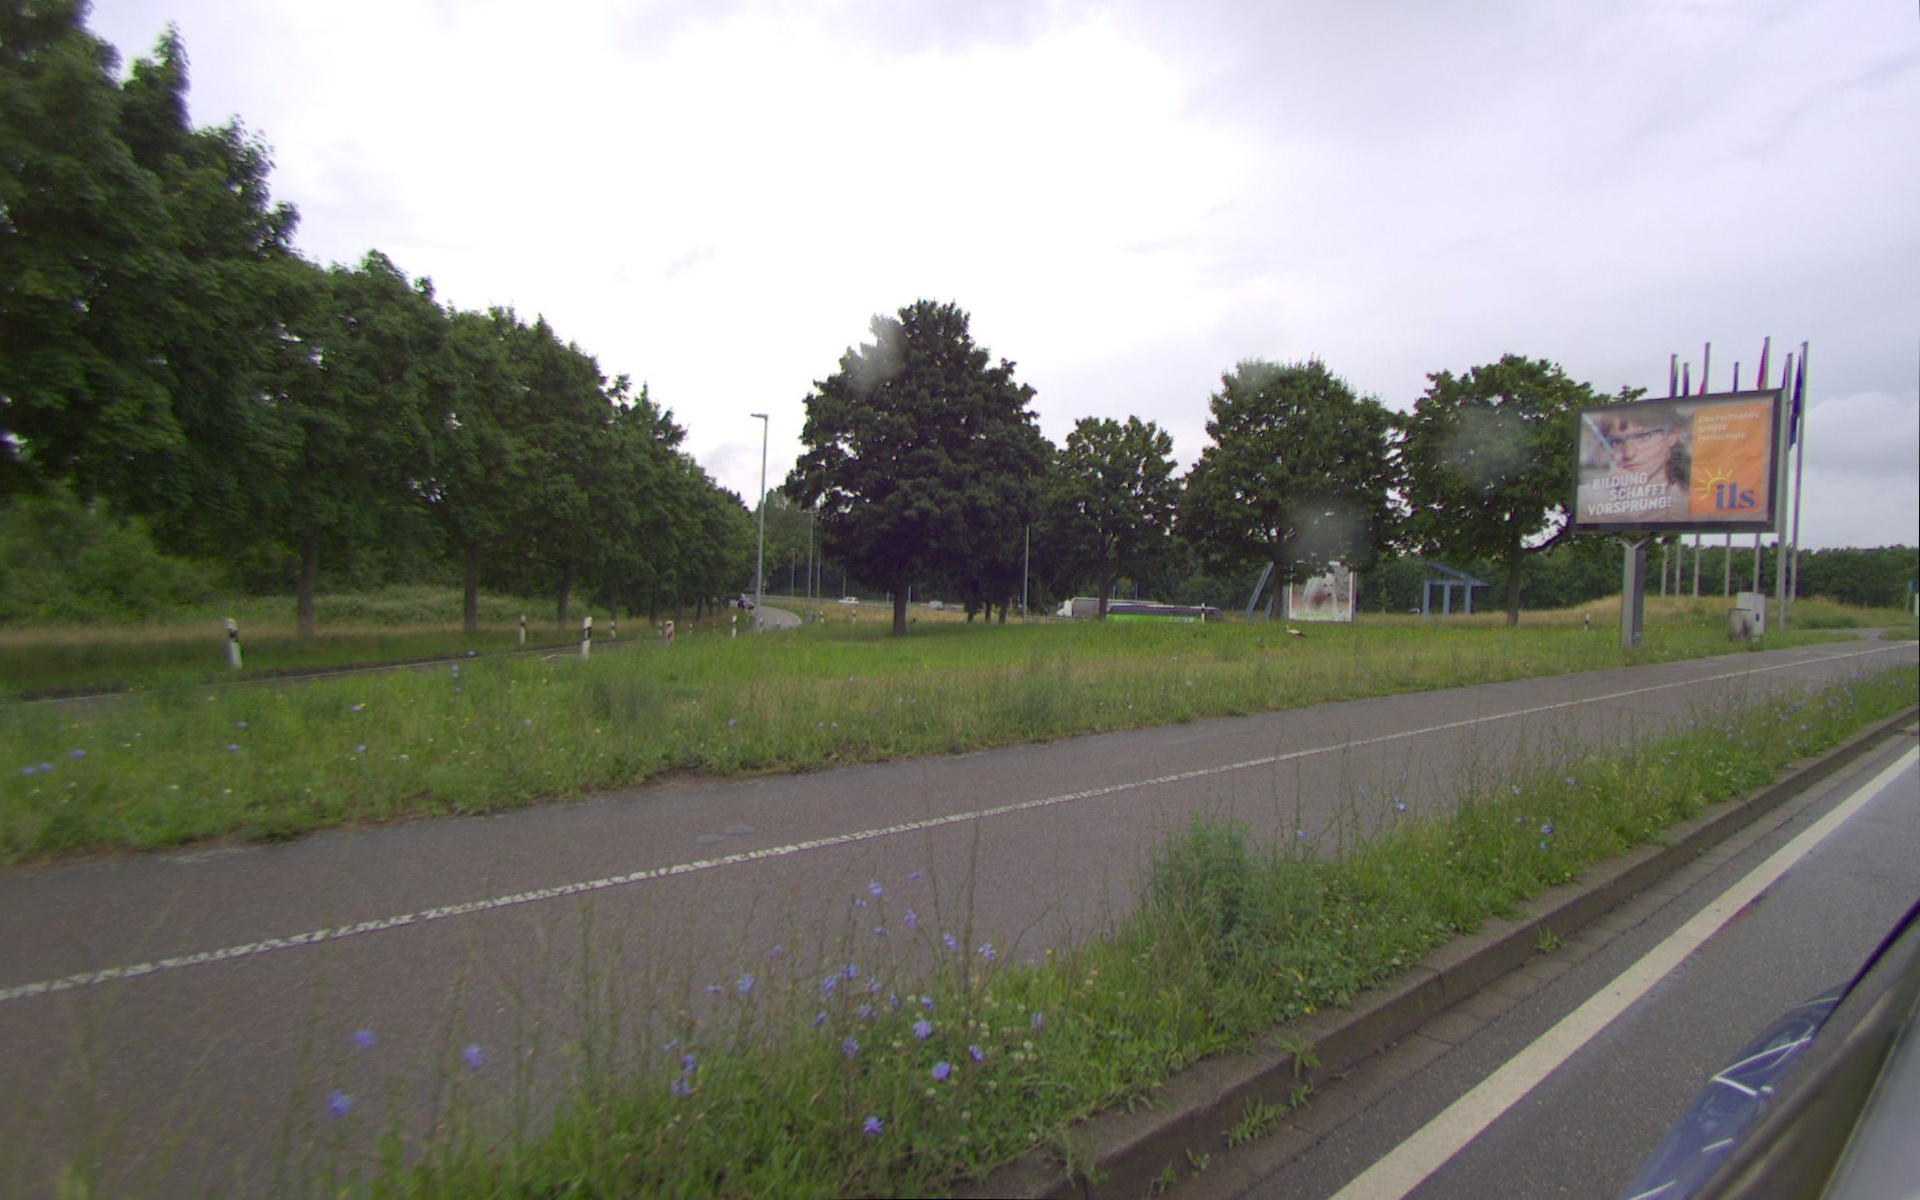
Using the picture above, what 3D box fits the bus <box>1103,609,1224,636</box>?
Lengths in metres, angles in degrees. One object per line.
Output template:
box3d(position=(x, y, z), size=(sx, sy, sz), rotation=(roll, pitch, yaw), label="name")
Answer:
box3d(position=(23.468, 2.543, 116.588), size=(14.285, 2.713, 2.769), rotation=(-1, 1, -20), label="bus")

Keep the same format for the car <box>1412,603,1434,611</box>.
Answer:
box3d(position=(97.033, 1.529, 212.010), size=(3.942, 1.652, 1.991), rotation=(1, 0, 15), label="car")

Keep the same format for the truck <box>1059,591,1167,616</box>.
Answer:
box3d(position=(22.620, 0.444, 150.514), size=(16.126, 3.433, 2.720), rotation=(1, 0, 30), label="truck")

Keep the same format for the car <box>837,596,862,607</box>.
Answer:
box3d(position=(-19.284, 0.206, 176.954), size=(3.965, 1.854, 1.822), rotation=(1, 0, 30), label="car")
